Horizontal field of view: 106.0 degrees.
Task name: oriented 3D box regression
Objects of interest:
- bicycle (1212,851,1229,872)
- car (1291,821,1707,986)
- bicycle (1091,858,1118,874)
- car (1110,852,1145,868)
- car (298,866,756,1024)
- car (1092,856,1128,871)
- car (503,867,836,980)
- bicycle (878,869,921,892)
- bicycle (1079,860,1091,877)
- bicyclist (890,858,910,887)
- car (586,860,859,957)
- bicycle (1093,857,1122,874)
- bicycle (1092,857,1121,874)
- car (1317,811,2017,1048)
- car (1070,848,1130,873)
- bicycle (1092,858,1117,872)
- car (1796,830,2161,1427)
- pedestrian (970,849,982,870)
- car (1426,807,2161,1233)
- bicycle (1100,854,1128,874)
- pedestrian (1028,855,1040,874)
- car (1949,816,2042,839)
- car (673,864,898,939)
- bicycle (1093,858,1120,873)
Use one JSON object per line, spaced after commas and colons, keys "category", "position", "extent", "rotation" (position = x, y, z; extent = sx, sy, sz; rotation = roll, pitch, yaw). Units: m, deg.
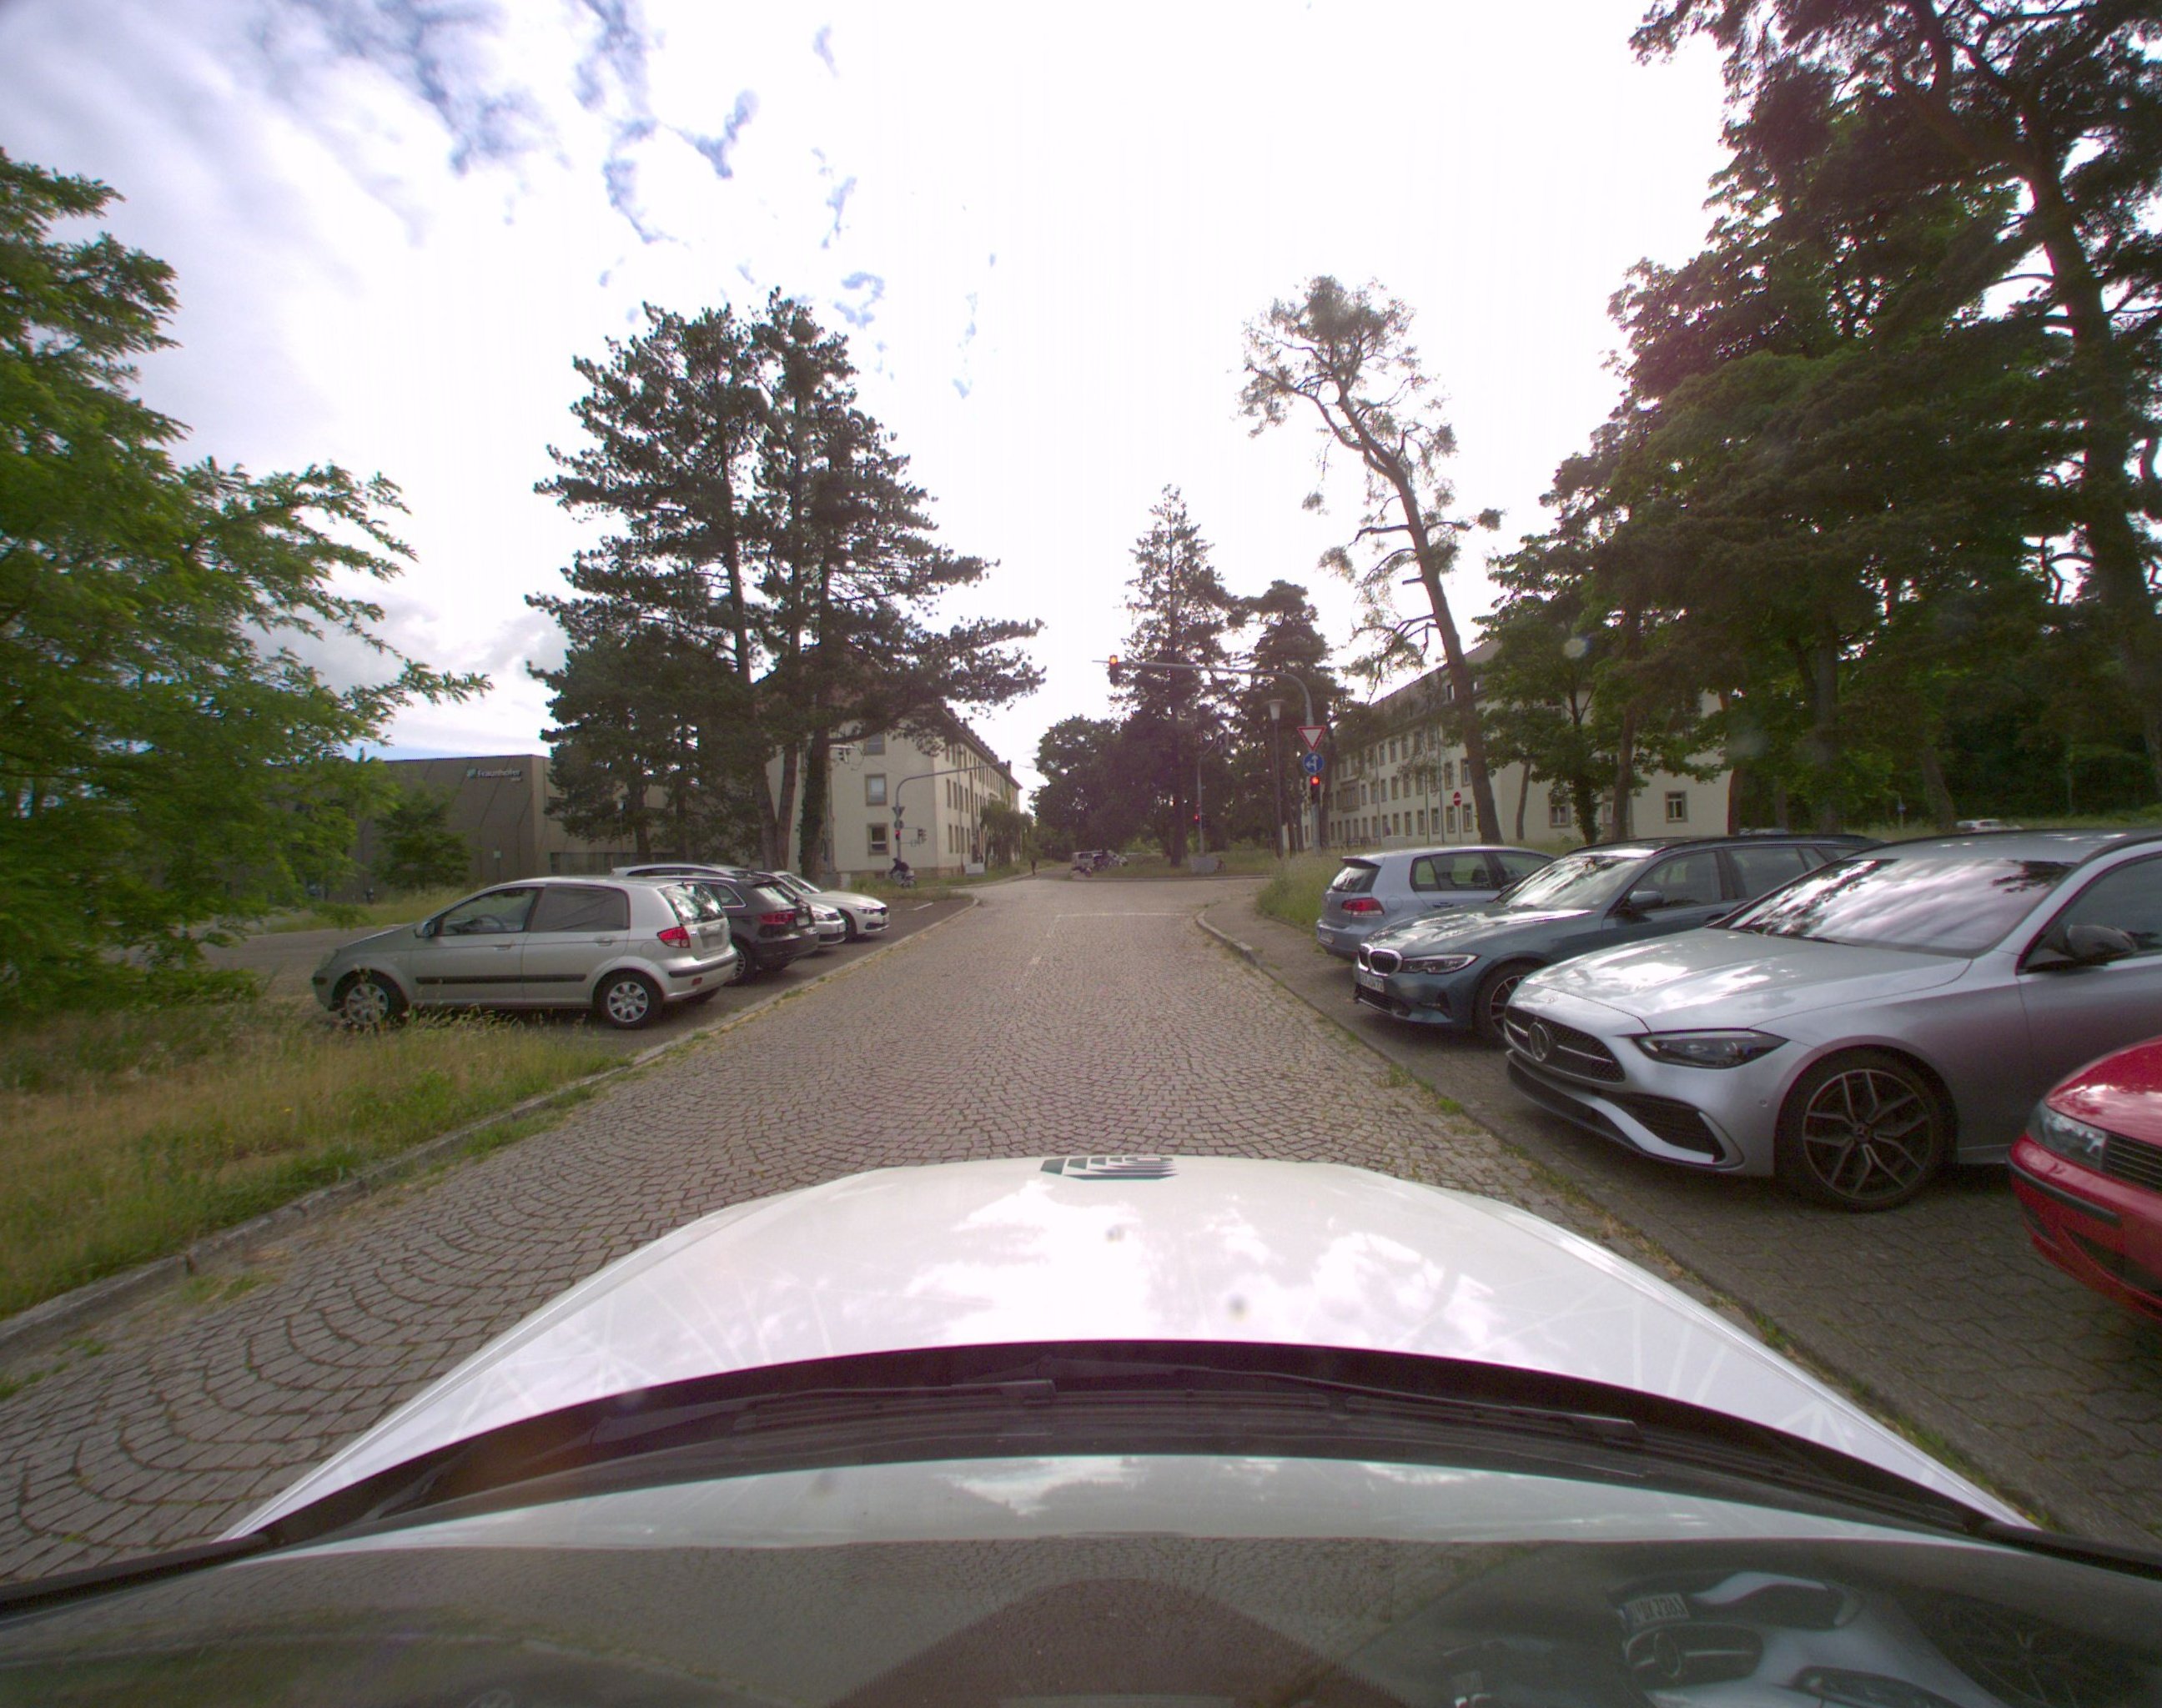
{"category": "bicycle", "position": [7.914, 0.415, 46.171], "extent": [0.584, 1.106, 1.961], "rotation": [-2, 0, 1]}
{"category": "car", "position": [4.622, 0.529, 9.441], "extent": [3.912, 1.477, 1.643], "rotation": [-4, 0, 2]}
{"category": "bicycle", "position": [1.768, 0.875, 60.407], "extent": [1.967, 1.069, 0.582], "rotation": [-2, 0, -29]}
{"category": "car", "position": [4.543, 0.621, 80.253], "extent": [3.224, 1.416, 1.724], "rotation": [-3, 0, -2]}
{"category": "car", "position": [-5.636, 0.891, 8.651], "extent": [3.694, 1.479, 1.581], "rotation": [0, 0, -3]}
{"category": "car", "position": [2.615, 0.837, 73.011], "extent": [3.001, 1.268, 1.532], "rotation": [-3, 0, -6]}
{"category": "car", "position": [-5.503, 0.907, 11.249], "extent": [3.737, 1.428, 1.581], "rotation": [0, 0, -3]}
{"category": "bicycle", "position": [-8.894, 1.291, 39.986], "extent": [1.948, 1.024, 0.605], "rotation": [-2, 0, 0]}
{"category": "bicycle", "position": [0.267, 0.972, 55.096], "extent": [0.602, 1.132, 1.958], "rotation": [-2, 0, -5]}
{"category": "bicyclist", "position": [-8.879, 0.909, 39.986], "extent": [0.746, 1.410, 0.605], "rotation": [-2, 0, 0]}
{"category": "car", "position": [-6.027, 0.895, 14.035], "extent": [3.938, 1.563, 1.649], "rotation": [0, 0, -3]}
{"category": "bicycle", "position": [1.908, 0.817, 58.291], "extent": [1.953, 1.132, 0.587], "rotation": [-2, 0, -7]}
{"category": "bicycle", "position": [1.854, 0.844, 58.924], "extent": [1.953, 1.117, 0.587], "rotation": [-2, 0, -7]}
{"category": "car", "position": [4.665, 0.550, 6.989], "extent": [4.669, 1.416, 1.870], "rotation": [-4, 0, -2]}
{"category": "car", "position": [1.764, 0.605, 76.377], "extent": [5.359, 1.925, 2.019], "rotation": [-4, 0, -9]}
{"category": "bicycle", "position": [1.906, 0.874, 65.443], "extent": [1.964, 1.069, 0.583], "rotation": [-2, 0, -24]}
{"category": "car", "position": [4.754, 0.566, 2.034], "extent": [4.248, 1.416, 1.871], "rotation": [-4, 0, 0]}
{"category": "pedestrian", "position": [-9.544, 0.526, 74.052], "extent": [0.779, 1.837, 0.733], "rotation": [-2, 0, -31]}
{"category": "car", "position": [4.411, 0.575, 4.228], "extent": [4.415, 1.416, 1.867], "rotation": [-4, 0, -5]}
{"category": "bicycle", "position": [2.401, 0.745, 59.754], "extent": [1.953, 1.384, 0.587], "rotation": [-2, 0, -7]}
{"category": "pedestrian", "position": [-4.152, 0.963, 72.145], "extent": [0.767, 1.618, 0.745], "rotation": [-3, 0, 25]}
{"category": "car", "position": [58.068, -1.664, 51.770], "extent": [3.931, 1.421, 1.651], "rotation": [0, 0, 3]}
{"category": "car", "position": [-5.903, 0.933, 16.571], "extent": [3.935, 1.421, 1.650], "rotation": [0, 0, -1]}
{"category": "bicycle", "position": [1.938, 0.875, 61.757], "extent": [1.967, 1.069, 0.582], "rotation": [-2, 0, -29]}
